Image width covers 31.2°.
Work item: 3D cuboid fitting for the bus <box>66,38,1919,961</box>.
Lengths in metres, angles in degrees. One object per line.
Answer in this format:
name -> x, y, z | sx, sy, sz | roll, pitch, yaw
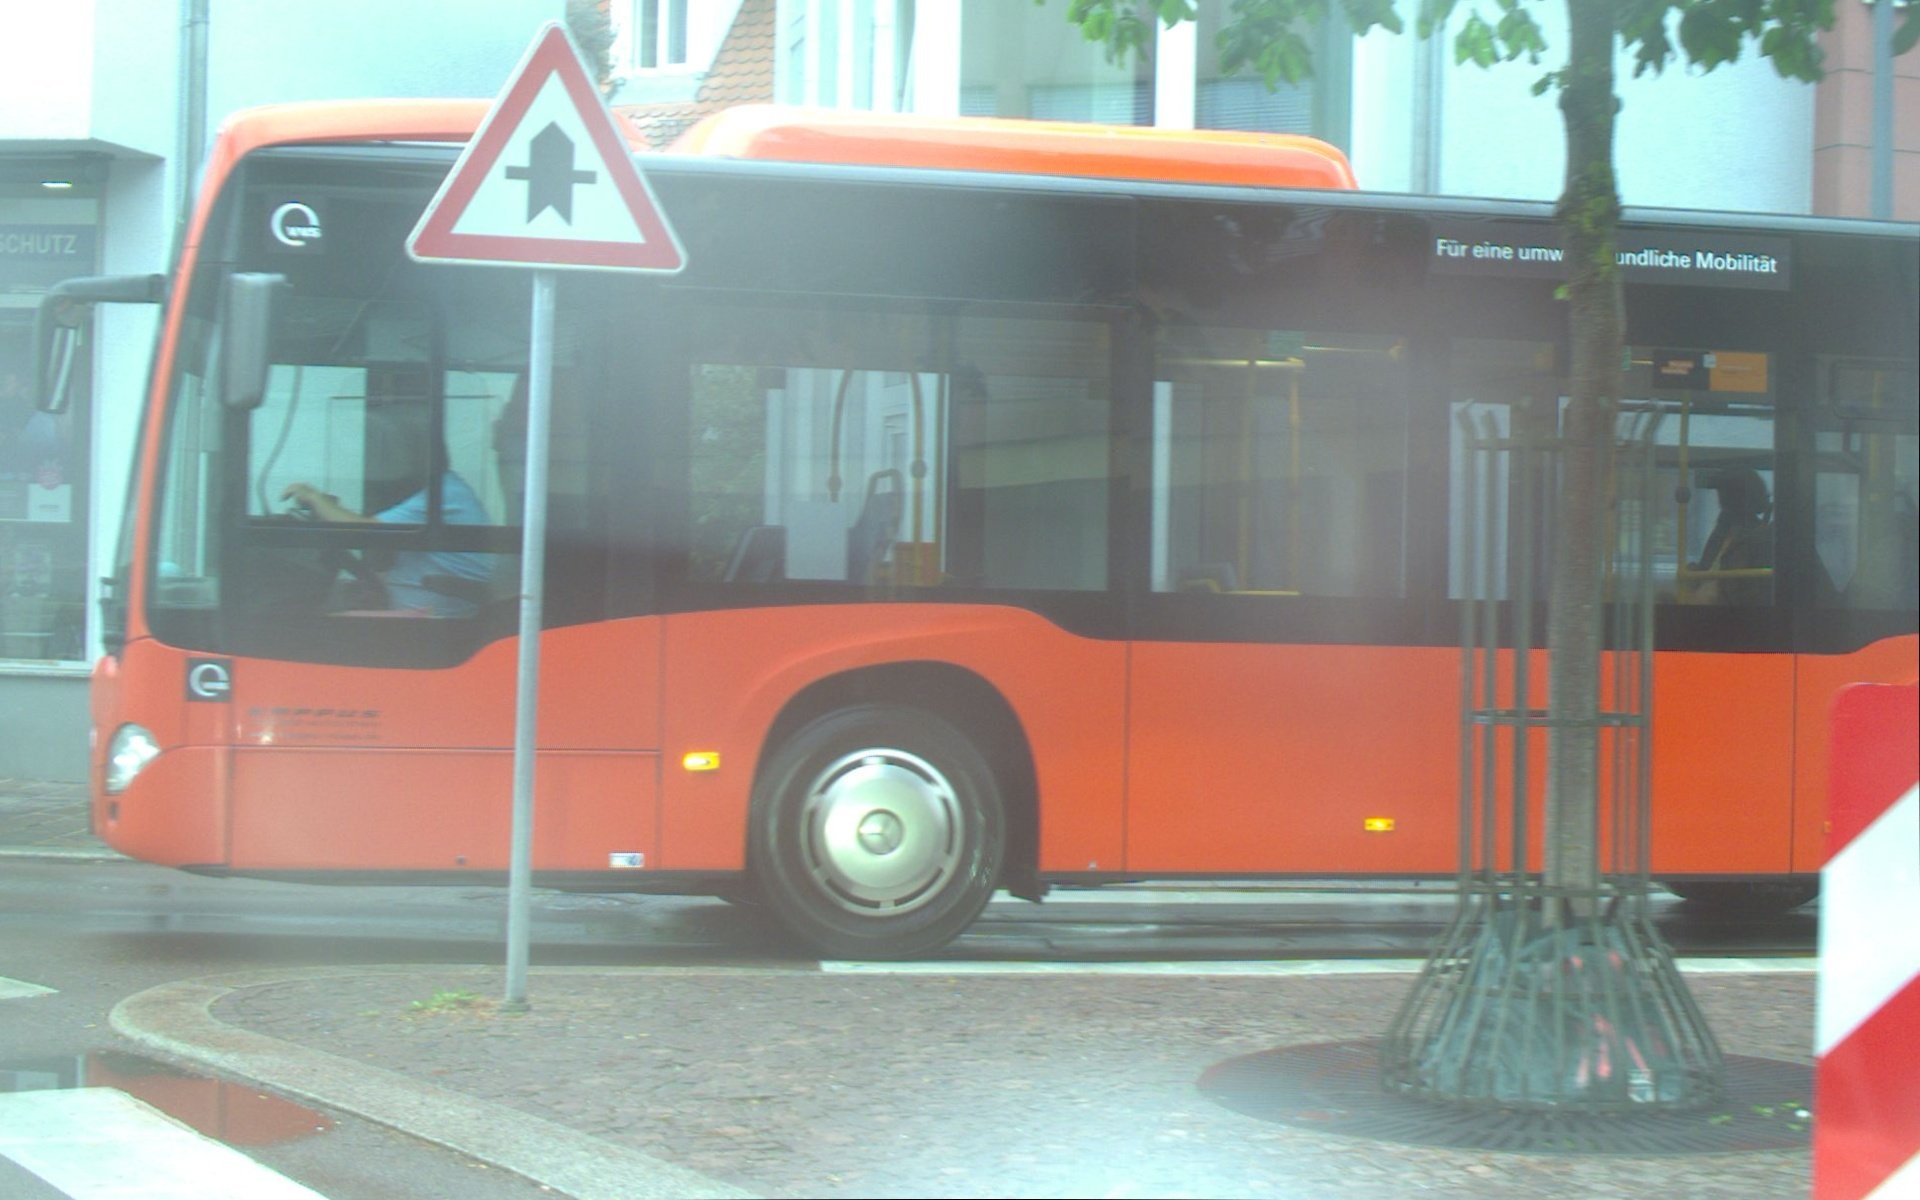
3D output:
bus -> 1.830, -0.252, 14.109 | 10.569, 3.078, 2.823 | 1, 0, -14
